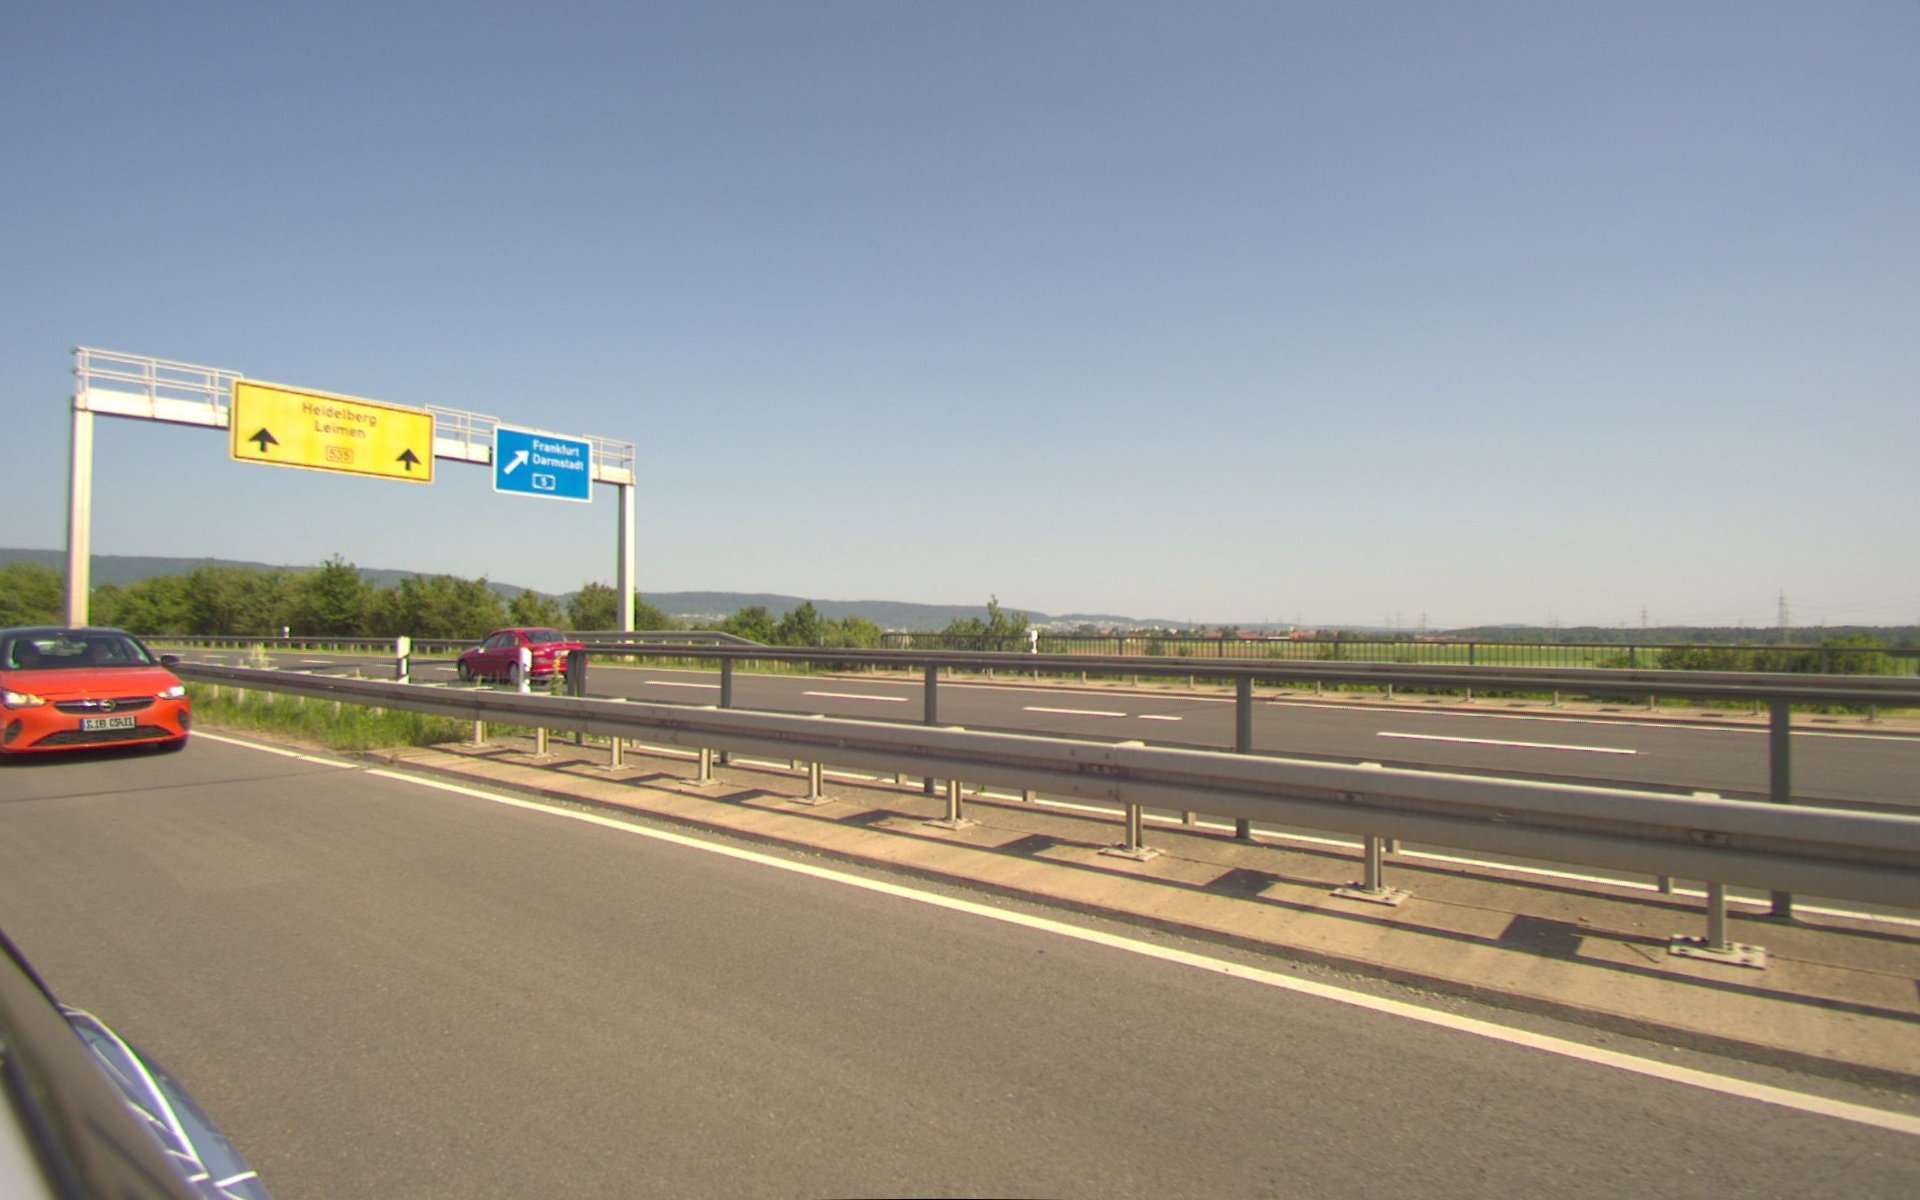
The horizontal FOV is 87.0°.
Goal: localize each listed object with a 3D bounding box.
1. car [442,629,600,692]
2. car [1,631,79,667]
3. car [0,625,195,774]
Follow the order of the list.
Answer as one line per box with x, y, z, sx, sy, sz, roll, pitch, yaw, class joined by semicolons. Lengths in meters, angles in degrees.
-11.347;1.495;26.008;4.525;1.439;1.807;-1;-1;38;car
-40.438;2.118;44.475;4.496;1.449;1.855;-1;-1;39;car
-10.546;1.030;11.769;4.408;1.448;1.692;-2;-3;40;car
